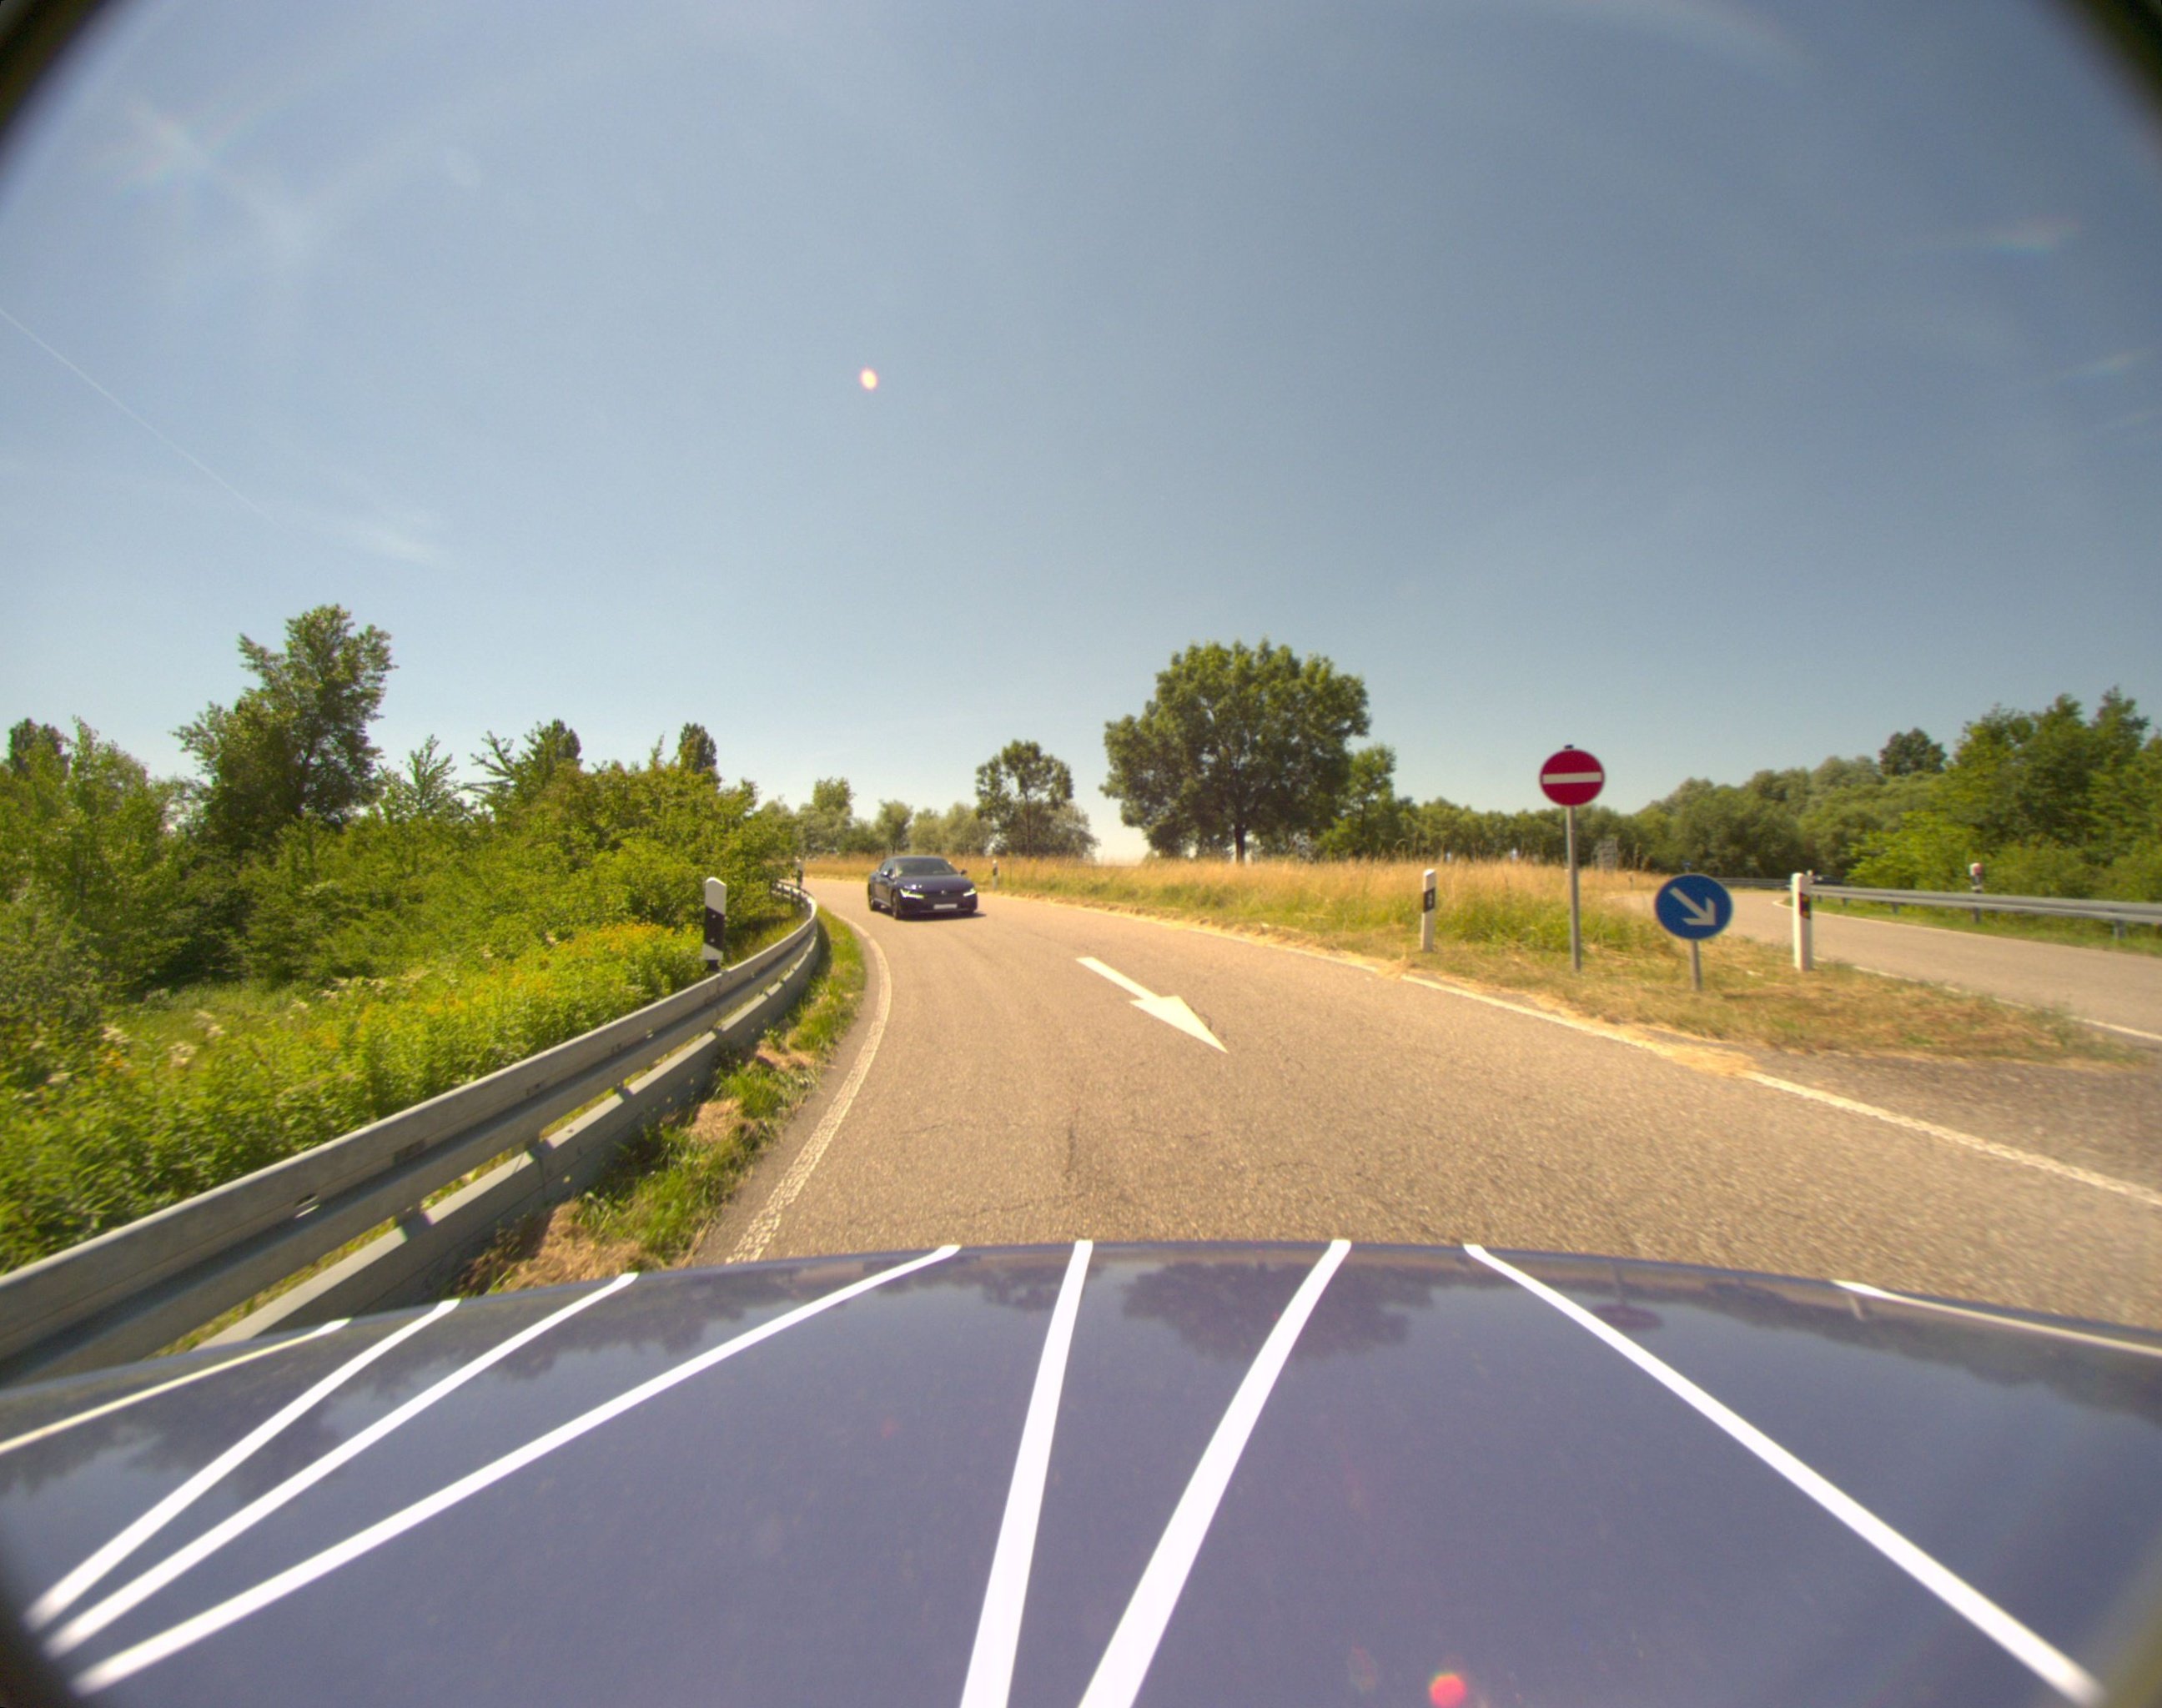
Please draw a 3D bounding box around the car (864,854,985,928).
[{"bbox_3d":[-3.986,0.795,18.681,1.846,1.422,4.523,-3,2,-25],"label":"car"}]

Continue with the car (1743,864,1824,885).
[{"bbox_3d":[54.746,1.569,59.252,4.642,1.564,1.999,1,0,-3],"label":"car"}]
